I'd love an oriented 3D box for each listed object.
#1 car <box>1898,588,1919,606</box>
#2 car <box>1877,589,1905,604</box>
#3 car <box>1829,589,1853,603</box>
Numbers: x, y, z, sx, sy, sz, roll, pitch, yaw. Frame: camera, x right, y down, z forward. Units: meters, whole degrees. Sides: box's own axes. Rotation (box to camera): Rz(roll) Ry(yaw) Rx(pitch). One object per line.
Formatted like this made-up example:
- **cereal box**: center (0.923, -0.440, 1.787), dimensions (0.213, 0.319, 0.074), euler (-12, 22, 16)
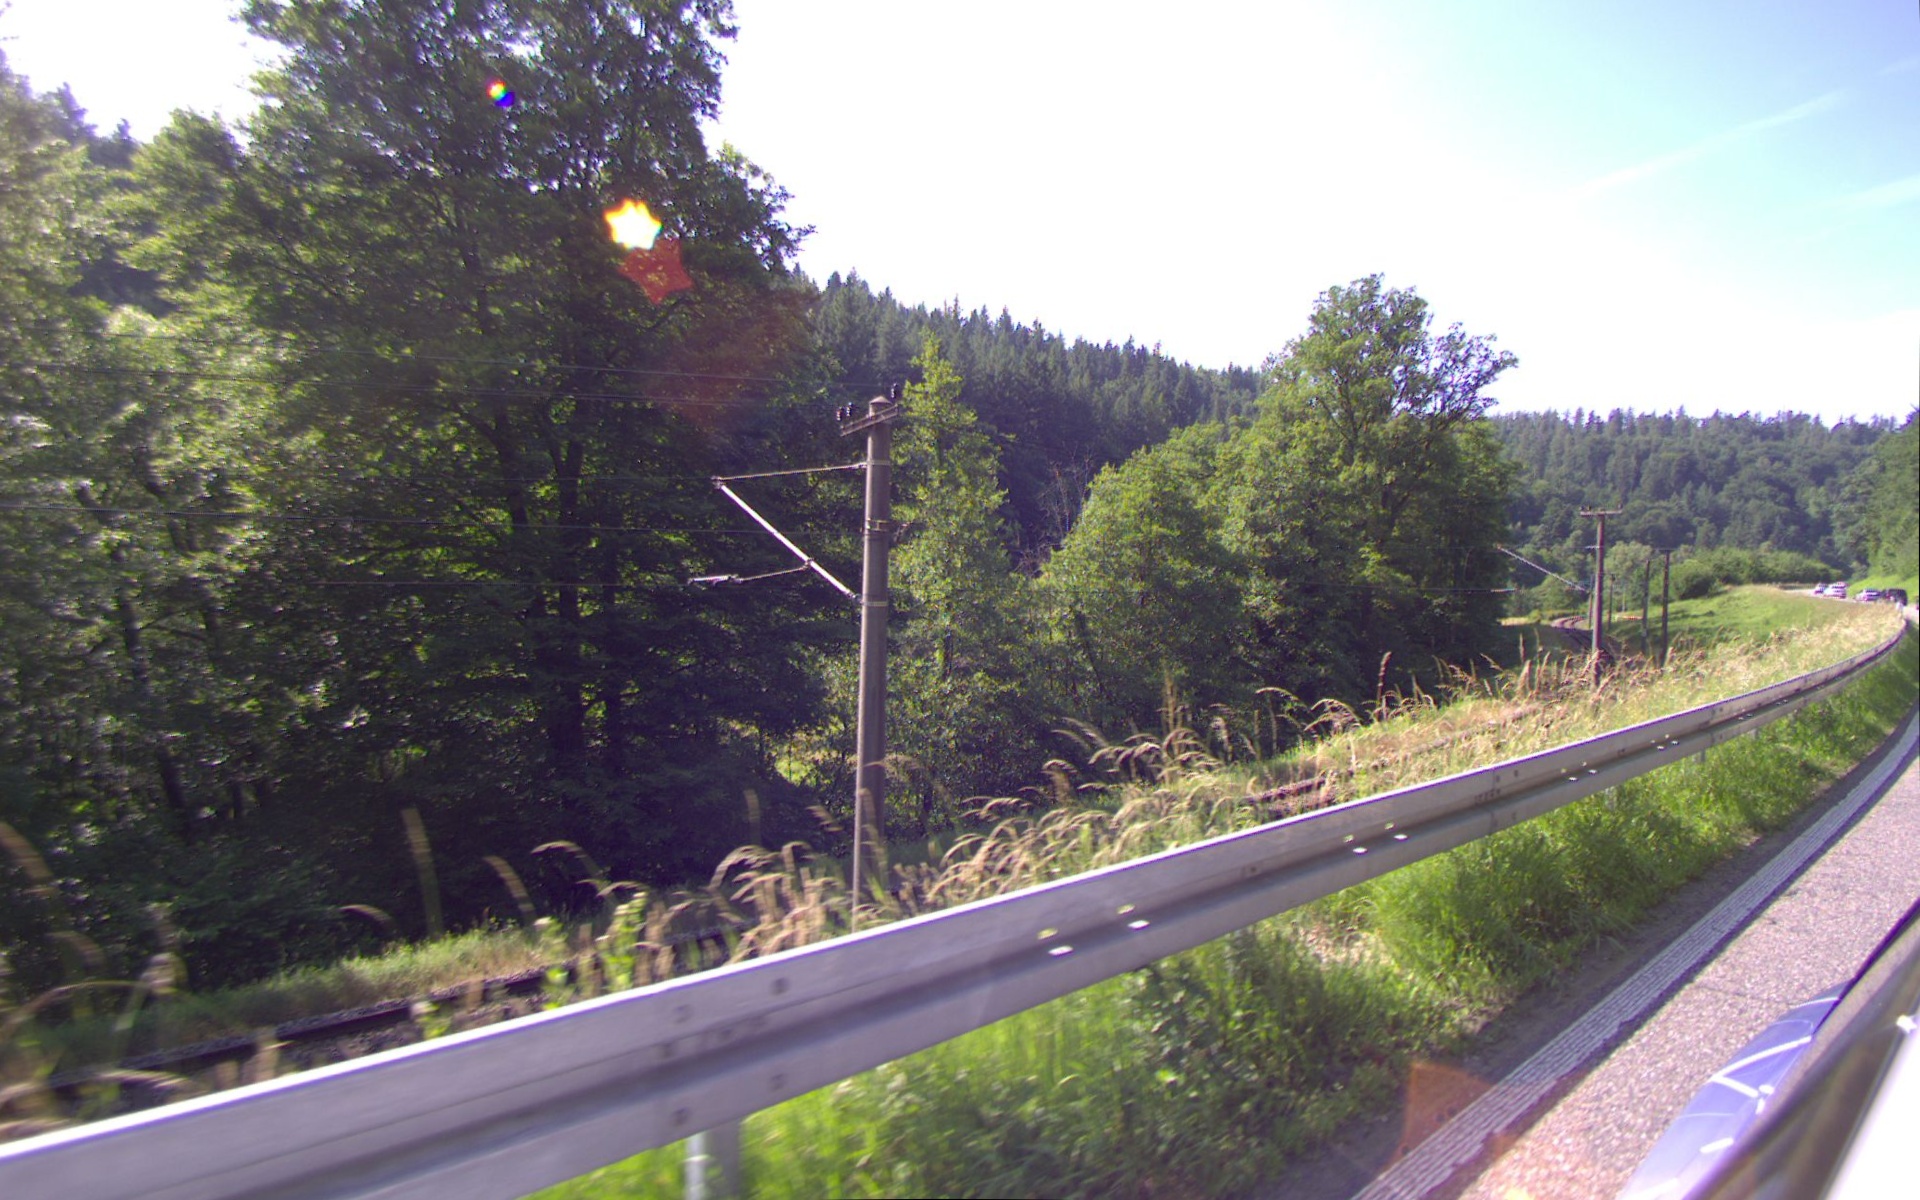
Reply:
- **car**: center (90.204, -0.294, 95.742), dimensions (1.830, 1.649, 4.289), euler (2, 1, 40)
- **car**: center (98.366, -0.393, 106.941), dimensions (1.830, 1.449, 4.612), euler (2, 1, 39)
- **car**: center (112.850, -0.572, 129.668), dimensions (1.989, 1.703, 4.839), euler (2, 1, 38)
